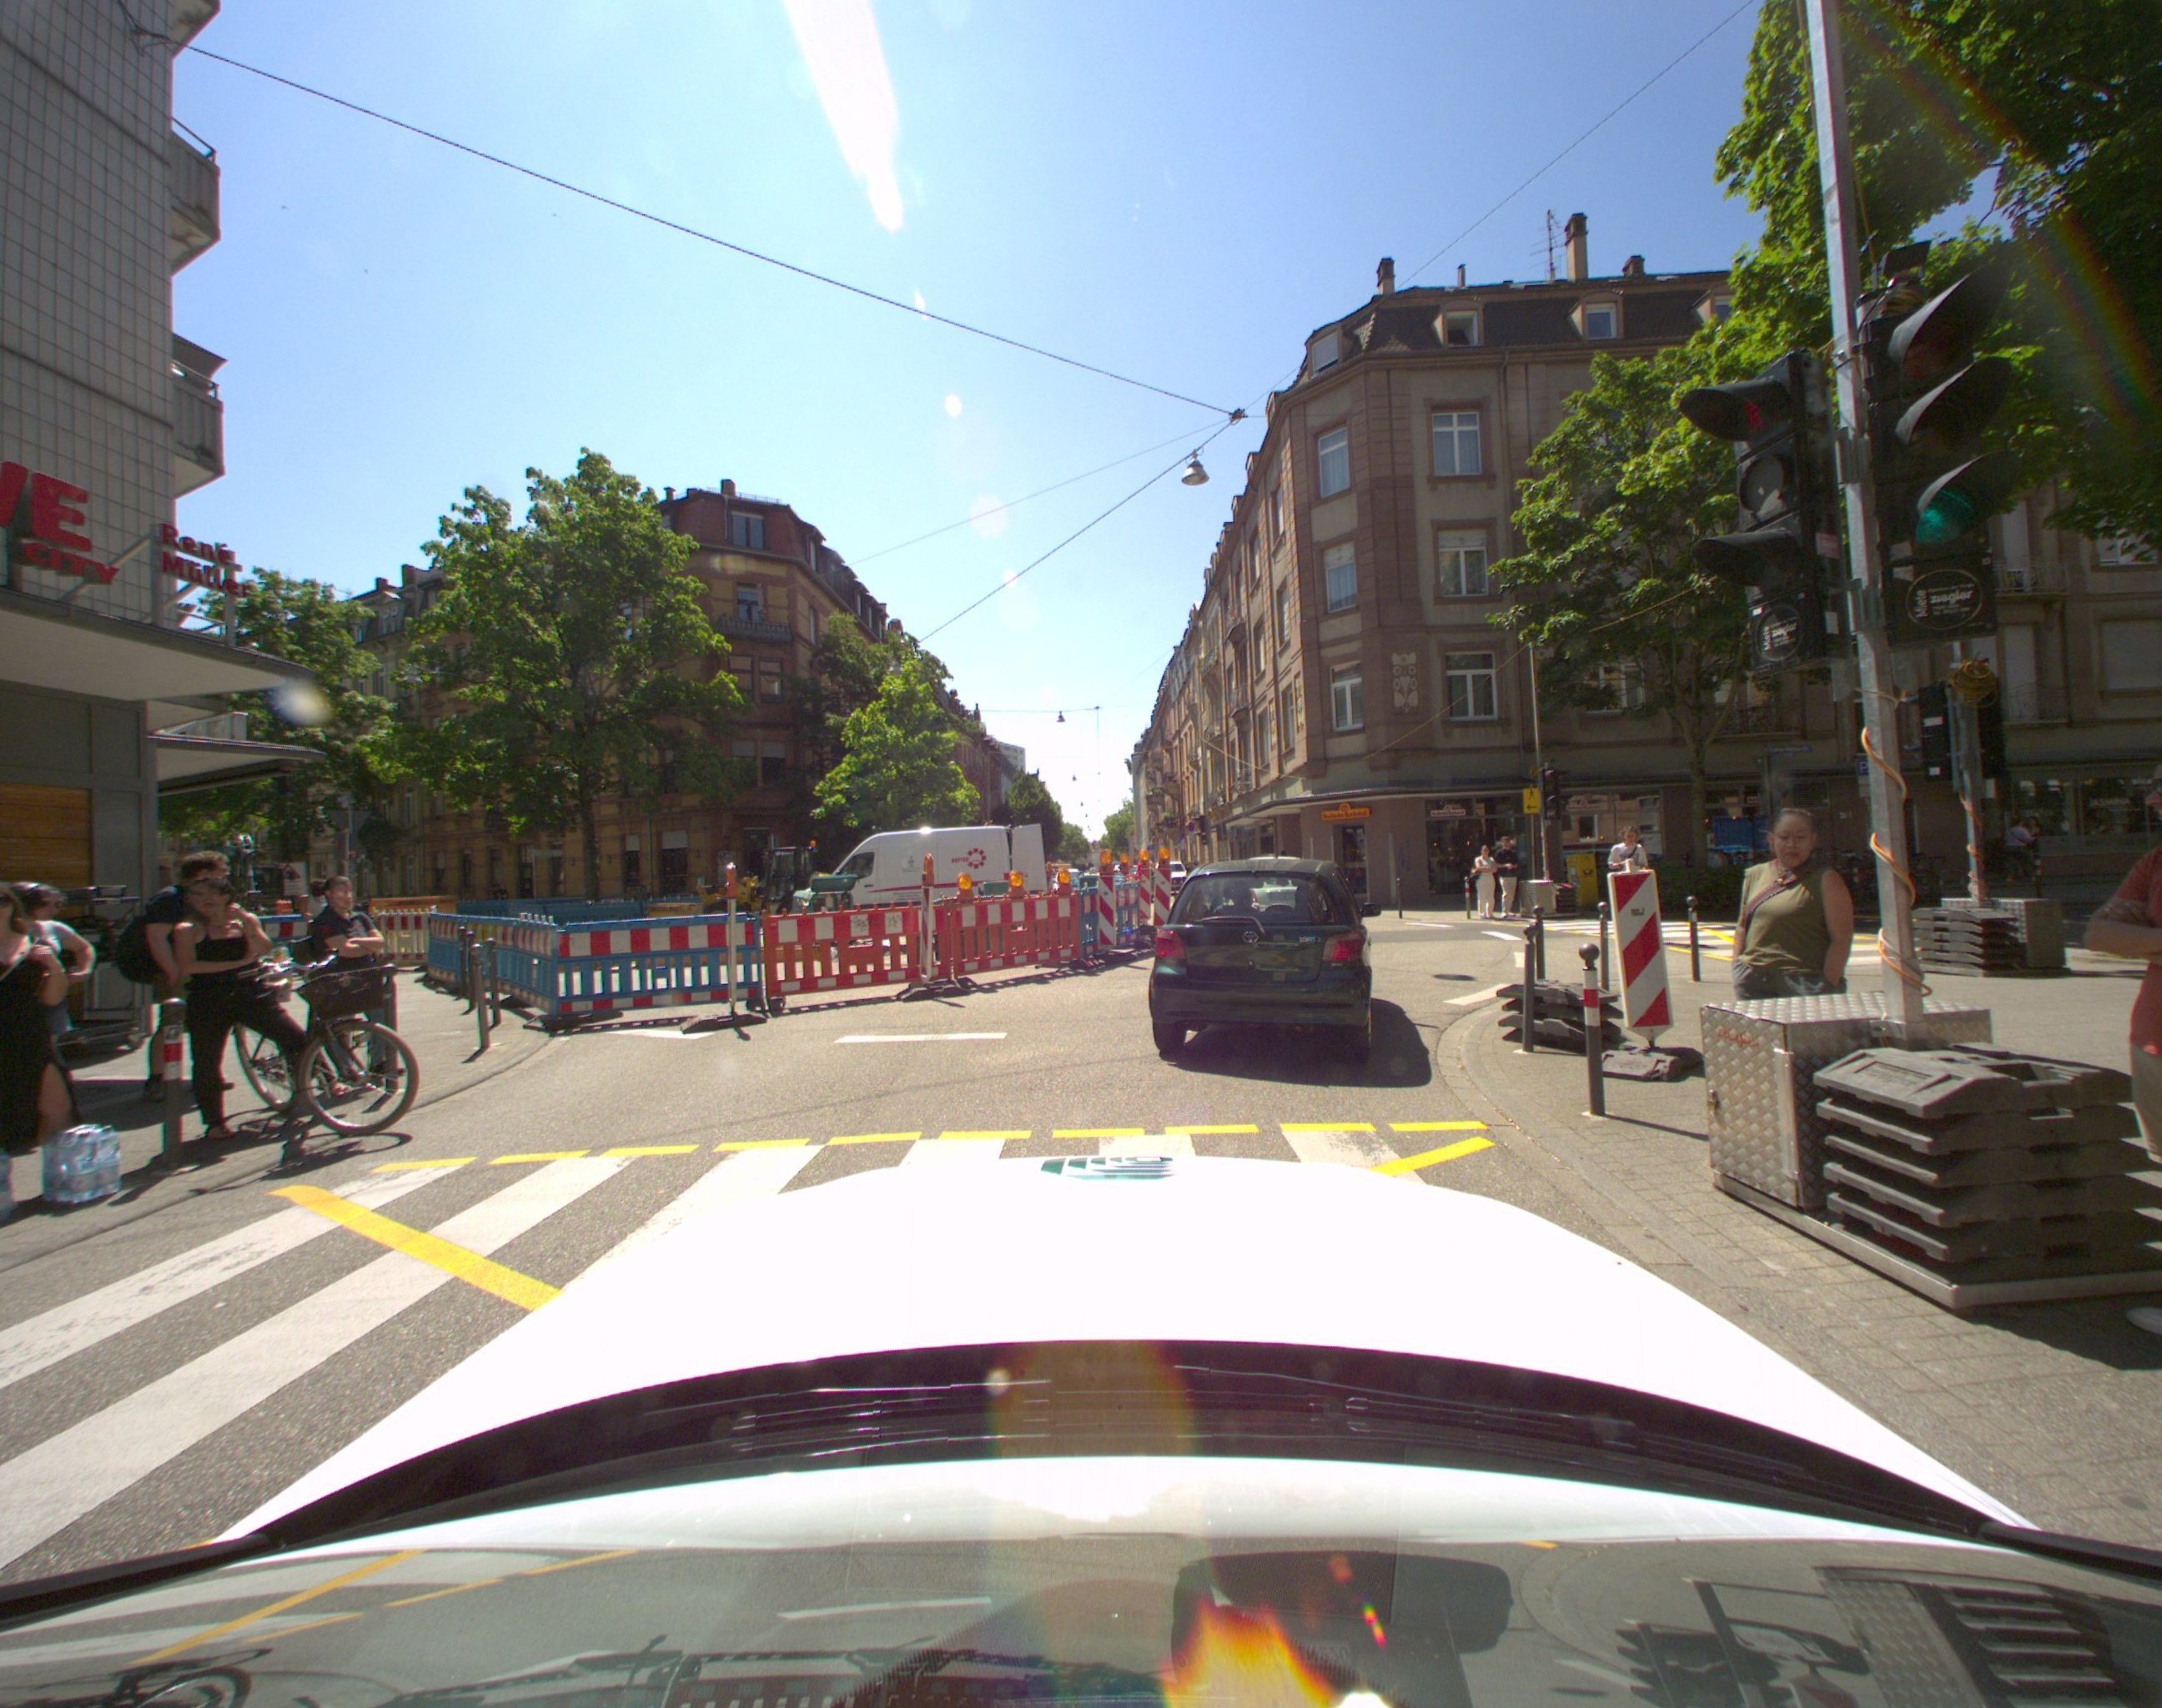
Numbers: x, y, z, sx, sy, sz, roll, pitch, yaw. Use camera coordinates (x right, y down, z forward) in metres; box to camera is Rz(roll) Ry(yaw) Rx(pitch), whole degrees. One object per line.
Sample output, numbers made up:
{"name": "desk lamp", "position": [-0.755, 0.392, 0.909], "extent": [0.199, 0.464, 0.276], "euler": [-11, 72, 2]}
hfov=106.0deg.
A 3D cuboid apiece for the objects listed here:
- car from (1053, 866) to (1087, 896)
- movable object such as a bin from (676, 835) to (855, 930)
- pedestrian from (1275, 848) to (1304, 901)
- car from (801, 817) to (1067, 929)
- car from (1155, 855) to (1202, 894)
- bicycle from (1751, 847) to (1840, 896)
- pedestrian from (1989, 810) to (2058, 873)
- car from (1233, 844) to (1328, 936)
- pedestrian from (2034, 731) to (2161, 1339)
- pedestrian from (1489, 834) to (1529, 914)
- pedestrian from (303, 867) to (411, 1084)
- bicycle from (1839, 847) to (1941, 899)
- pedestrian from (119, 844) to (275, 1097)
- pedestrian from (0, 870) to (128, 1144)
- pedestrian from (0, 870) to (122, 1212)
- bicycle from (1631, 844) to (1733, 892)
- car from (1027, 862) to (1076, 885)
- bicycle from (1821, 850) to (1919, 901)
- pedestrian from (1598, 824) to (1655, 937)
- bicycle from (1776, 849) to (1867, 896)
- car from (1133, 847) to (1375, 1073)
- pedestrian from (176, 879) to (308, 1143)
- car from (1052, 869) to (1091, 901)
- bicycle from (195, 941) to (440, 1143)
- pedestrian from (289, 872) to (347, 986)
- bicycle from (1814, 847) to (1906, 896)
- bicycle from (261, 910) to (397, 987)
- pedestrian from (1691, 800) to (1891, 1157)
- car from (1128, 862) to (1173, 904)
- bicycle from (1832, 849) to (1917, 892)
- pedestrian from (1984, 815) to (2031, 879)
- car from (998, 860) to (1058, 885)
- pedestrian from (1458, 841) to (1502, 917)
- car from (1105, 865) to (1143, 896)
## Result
{"name": "car", "position": [-0.627, 1.649, 50.368], "extent": [1.748, 1.645, 4.378], "euler": [-5, -1, 1]}
{"name": "movable object such as a bin", "position": [-9.311, 0.819, 24.311], "extent": [4.530, 2.659, 1.953], "euler": [-1, -1, -2]}
{"name": "pedestrian", "position": [6.573, 0.638, 25.692], "extent": [0.639, 1.623, 0.804], "euler": [-2, -1, 1]}
{"name": "car", "position": [-3.776, 0.509, 21.869], "extent": [6.596, 2.752, 2.381], "euler": [-1, -1, 2]}
{"name": "car", "position": [4.838, 1.025, 41.000], "extent": [1.864, 1.713, 4.505], "euler": [-4, -1, 2]}
{"name": "bicycle", "position": [17.142, 0.407, 19.543], "extent": [1.756, 1.080, 0.470], "euler": [-3, 1, -3]}
{"name": "pedestrian", "position": [25.355, -0.330, 21.914], "extent": [0.853, 1.634, 0.787], "euler": [-3, -1, 0]}
{"name": "car", "position": [3.841, 0.627, 15.576], "extent": [1.511, 1.521, 3.277], "euler": [-3, -1, 15]}
{"name": "pedestrian", "position": [3.127, 0.499, 2.288], "extent": [0.330, 1.675, 0.402], "euler": [-3, -1, 7]}
{"name": "pedestrian", "position": [9.746, 0.441, 18.558], "extent": [0.574, 1.768, 0.470], "euler": [-5, 2, -7]}
{"name": "pedestrian", "position": [-5.674, 0.920, 6.399], "extent": [0.388, 1.618, 0.475], "euler": [-2, -1, -1]}
{"name": "bicycle", "position": [17.102, 0.394, 17.219], "extent": [1.756, 0.996, 0.470], "euler": [-3, 1, -3]}
{"name": "pedestrian", "position": [-6.759, 0.853, 6.249], "extent": [0.507, 1.820, 0.599], "euler": [-2, -1, -1]}
{"name": "pedestrian", "position": [-6.667, 0.929, 5.165], "extent": [0.507, 1.633, 0.599], "euler": [-2, -1, -1]}
{"name": "pedestrian", "position": [-5.475, 0.910, 4.147], "extent": [0.539, 1.633, 0.511], "euler": [-2, -1, -1]}
{"name": "bicycle", "position": [15.106, 0.355, 20.519], "extent": [1.964, 1.132, 0.519], "euler": [-3, -1, 18]}
{"name": "car", "position": [-3.068, 1.976, 83.750], "extent": [4.582, 2.187, 1.983], "euler": [-2, -1, -26]}
{"name": "bicycle", "position": [17.202, 0.458, 17.768], "extent": [1.756, 0.996, 0.470], "euler": [-3, 1, -3]}
{"name": "pedestrian", "position": [8.669, 0.418, 12.976], "extent": [0.473, 1.733, 0.876], "euler": [-3, -2, 20]}
{"name": "bicycle", "position": [17.299, 0.415, 19.032], "extent": [1.756, 0.996, 0.470], "euler": [-3, 1, -3]}
{"name": "car", "position": [1.667, 0.738, 7.172], "extent": [1.601, 1.485, 3.256], "euler": [-2, -1, 18]}
{"name": "pedestrian", "position": [-5.364, 0.952, 5.213], "extent": [0.491, 1.565, 0.462], "euler": [-1, 0, 27]}
{"name": "car", "position": [-0.450, 1.544, 41.691], "extent": [1.748, 1.444, 4.001], "euler": [-3, -1, 1]}
{"name": "bicycle", "position": [-5.087, 1.179, 5.405], "extent": [1.789, 1.119, 0.470], "euler": [-1, -1, 22]}
{"name": "pedestrian", "position": [-11.868, 1.148, 12.666], "extent": [0.385, 1.715, 0.594], "euler": [-4, -2, 40]}
{"name": "bicycle", "position": [17.489, 0.393, 18.291], "extent": [1.680, 1.005, 0.470], "euler": [-3, 1, -3]}
{"name": "bicycle", "position": [-11.881, 1.475, 12.905], "extent": [1.573, 1.072, 0.340], "euler": [-2, -1, -16]}
{"name": "pedestrian", "position": [3.314, 0.555, 3.841], "extent": [0.457, 1.560, 0.480], "euler": [-3, -1, 7]}
{"name": "car", "position": [2.785, 1.148, 33.261], "extent": [1.517, 1.592, 3.263], "euler": [-2, -1, 0]}
{"name": "bicycle", "position": [20.274, 0.421, 20.819], "extent": [1.719, 0.996, 0.504], "euler": [-3, 1, -3]}
{"name": "pedestrian", "position": [23.869, -0.172, 20.981], "extent": [0.488, 1.614, 0.560], "euler": [-3, -1, 6]}
{"name": "car", "position": [-4.652, 1.615, 71.126], "extent": [4.801, 1.994, 2.035], "euler": [-2, -1, -28]}
{"name": "pedestrian", "position": [9.025, 0.561, 18.412], "extent": [0.701, 1.645, 0.422], "euler": [-5, 2, -7]}
{"name": "car", "position": [2.453, 1.520, 47.593], "extent": [1.987, 1.618, 4.000], "euler": [-5, -1, 1]}
